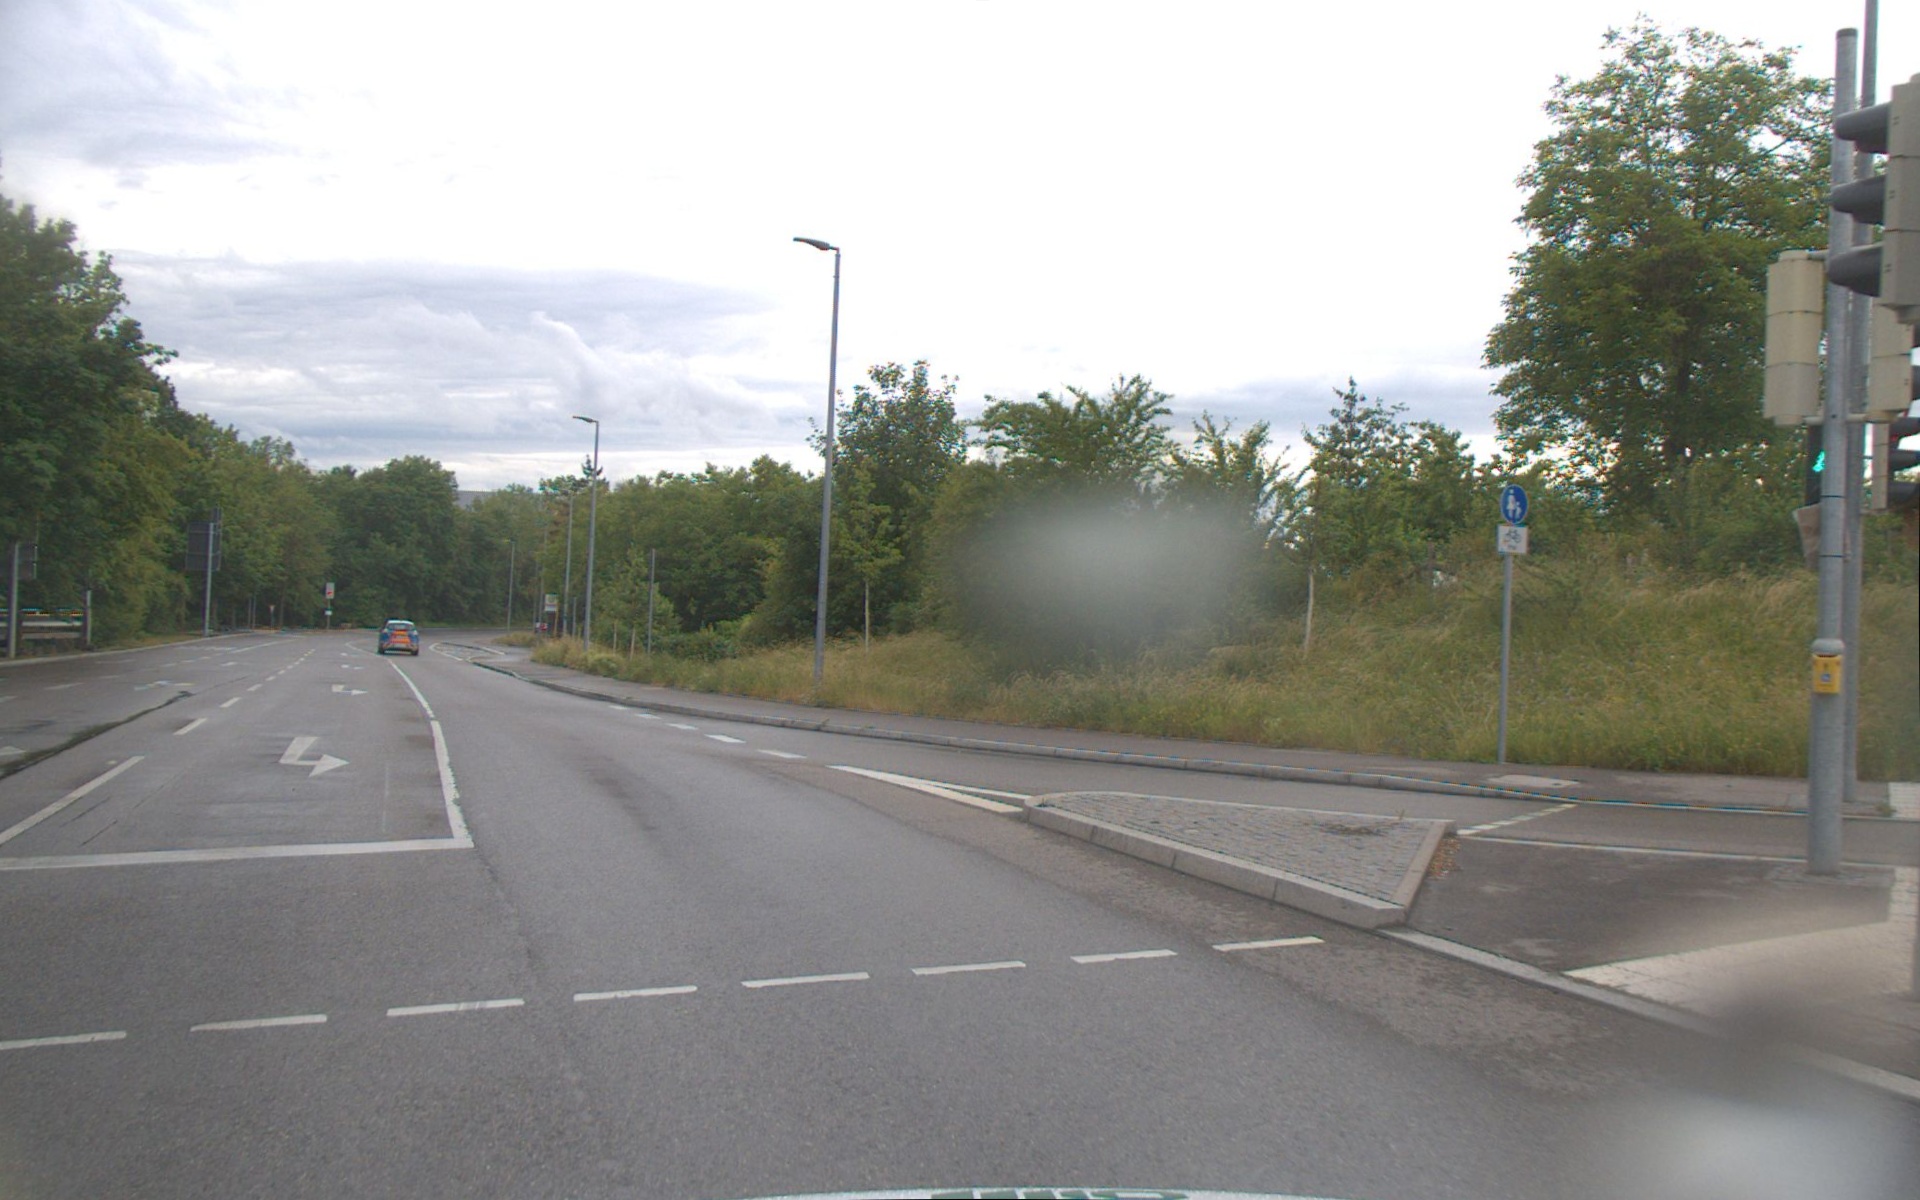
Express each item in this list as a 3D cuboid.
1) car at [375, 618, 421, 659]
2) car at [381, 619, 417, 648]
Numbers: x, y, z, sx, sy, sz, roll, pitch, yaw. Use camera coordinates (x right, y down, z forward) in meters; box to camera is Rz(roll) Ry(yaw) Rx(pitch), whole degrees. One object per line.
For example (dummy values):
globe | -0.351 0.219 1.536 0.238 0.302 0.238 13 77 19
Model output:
car | -26.298 1.774 77.455 1.963 1.718 3.979 1 1 -19
car | -32.522 1.936 95.951 1.898 1.512 3.780 1 1 -19
